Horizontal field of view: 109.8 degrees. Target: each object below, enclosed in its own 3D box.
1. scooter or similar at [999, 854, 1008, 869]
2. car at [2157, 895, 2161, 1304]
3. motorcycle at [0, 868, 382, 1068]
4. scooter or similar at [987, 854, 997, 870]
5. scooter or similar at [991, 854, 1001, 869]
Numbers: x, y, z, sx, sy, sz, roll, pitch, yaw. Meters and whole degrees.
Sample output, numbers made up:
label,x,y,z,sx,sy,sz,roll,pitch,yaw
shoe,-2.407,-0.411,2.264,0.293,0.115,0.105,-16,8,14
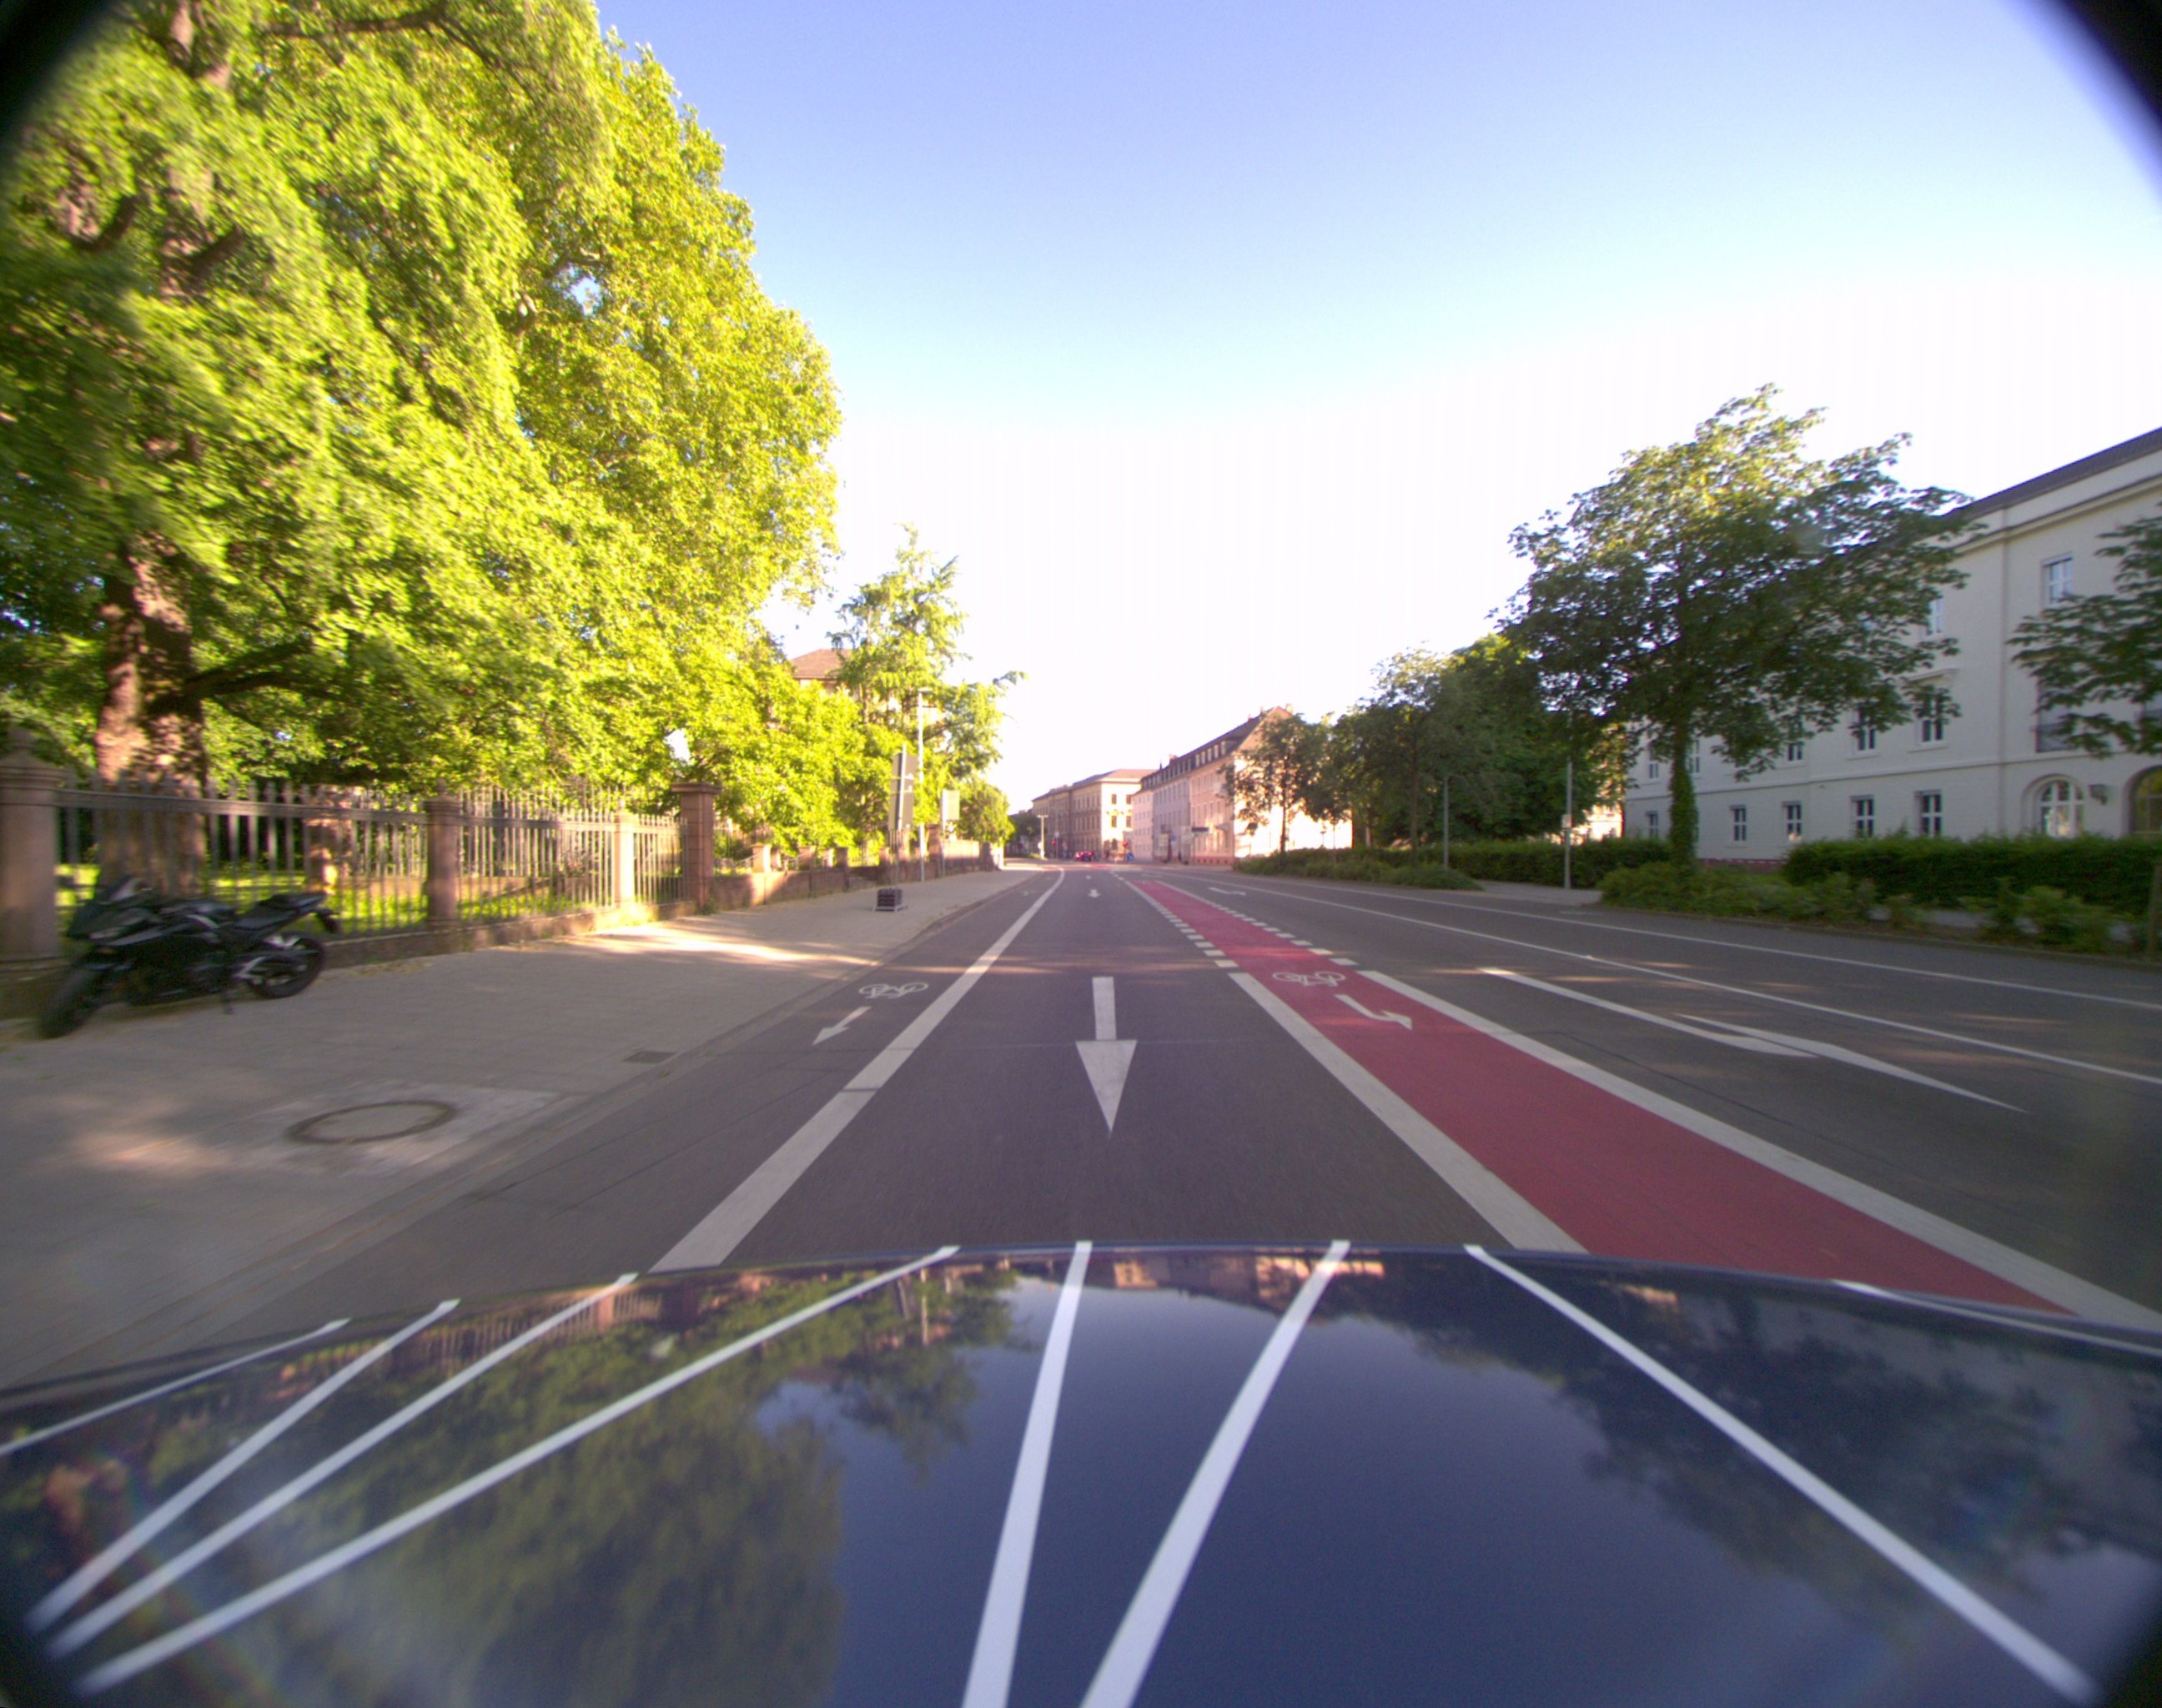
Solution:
label,x,y,z,sx,sy,sz,roll,pitch,yaw
scooter or similar,-5.621,0.569,55.144,0.416,1.035,1.779,-2,1,1
car,4.494,0.842,0.323,1.722,1.410,4.527,-2,1,1
motorcycle,-7.064,0.790,6.137,0.906,1.285,2.038,0,1,1
scooter or similar,-6.197,0.535,52.919,0.416,1.035,1.779,-2,1,1
scooter or similar,-6.167,0.507,55.184,0.416,1.035,1.779,-2,1,1
